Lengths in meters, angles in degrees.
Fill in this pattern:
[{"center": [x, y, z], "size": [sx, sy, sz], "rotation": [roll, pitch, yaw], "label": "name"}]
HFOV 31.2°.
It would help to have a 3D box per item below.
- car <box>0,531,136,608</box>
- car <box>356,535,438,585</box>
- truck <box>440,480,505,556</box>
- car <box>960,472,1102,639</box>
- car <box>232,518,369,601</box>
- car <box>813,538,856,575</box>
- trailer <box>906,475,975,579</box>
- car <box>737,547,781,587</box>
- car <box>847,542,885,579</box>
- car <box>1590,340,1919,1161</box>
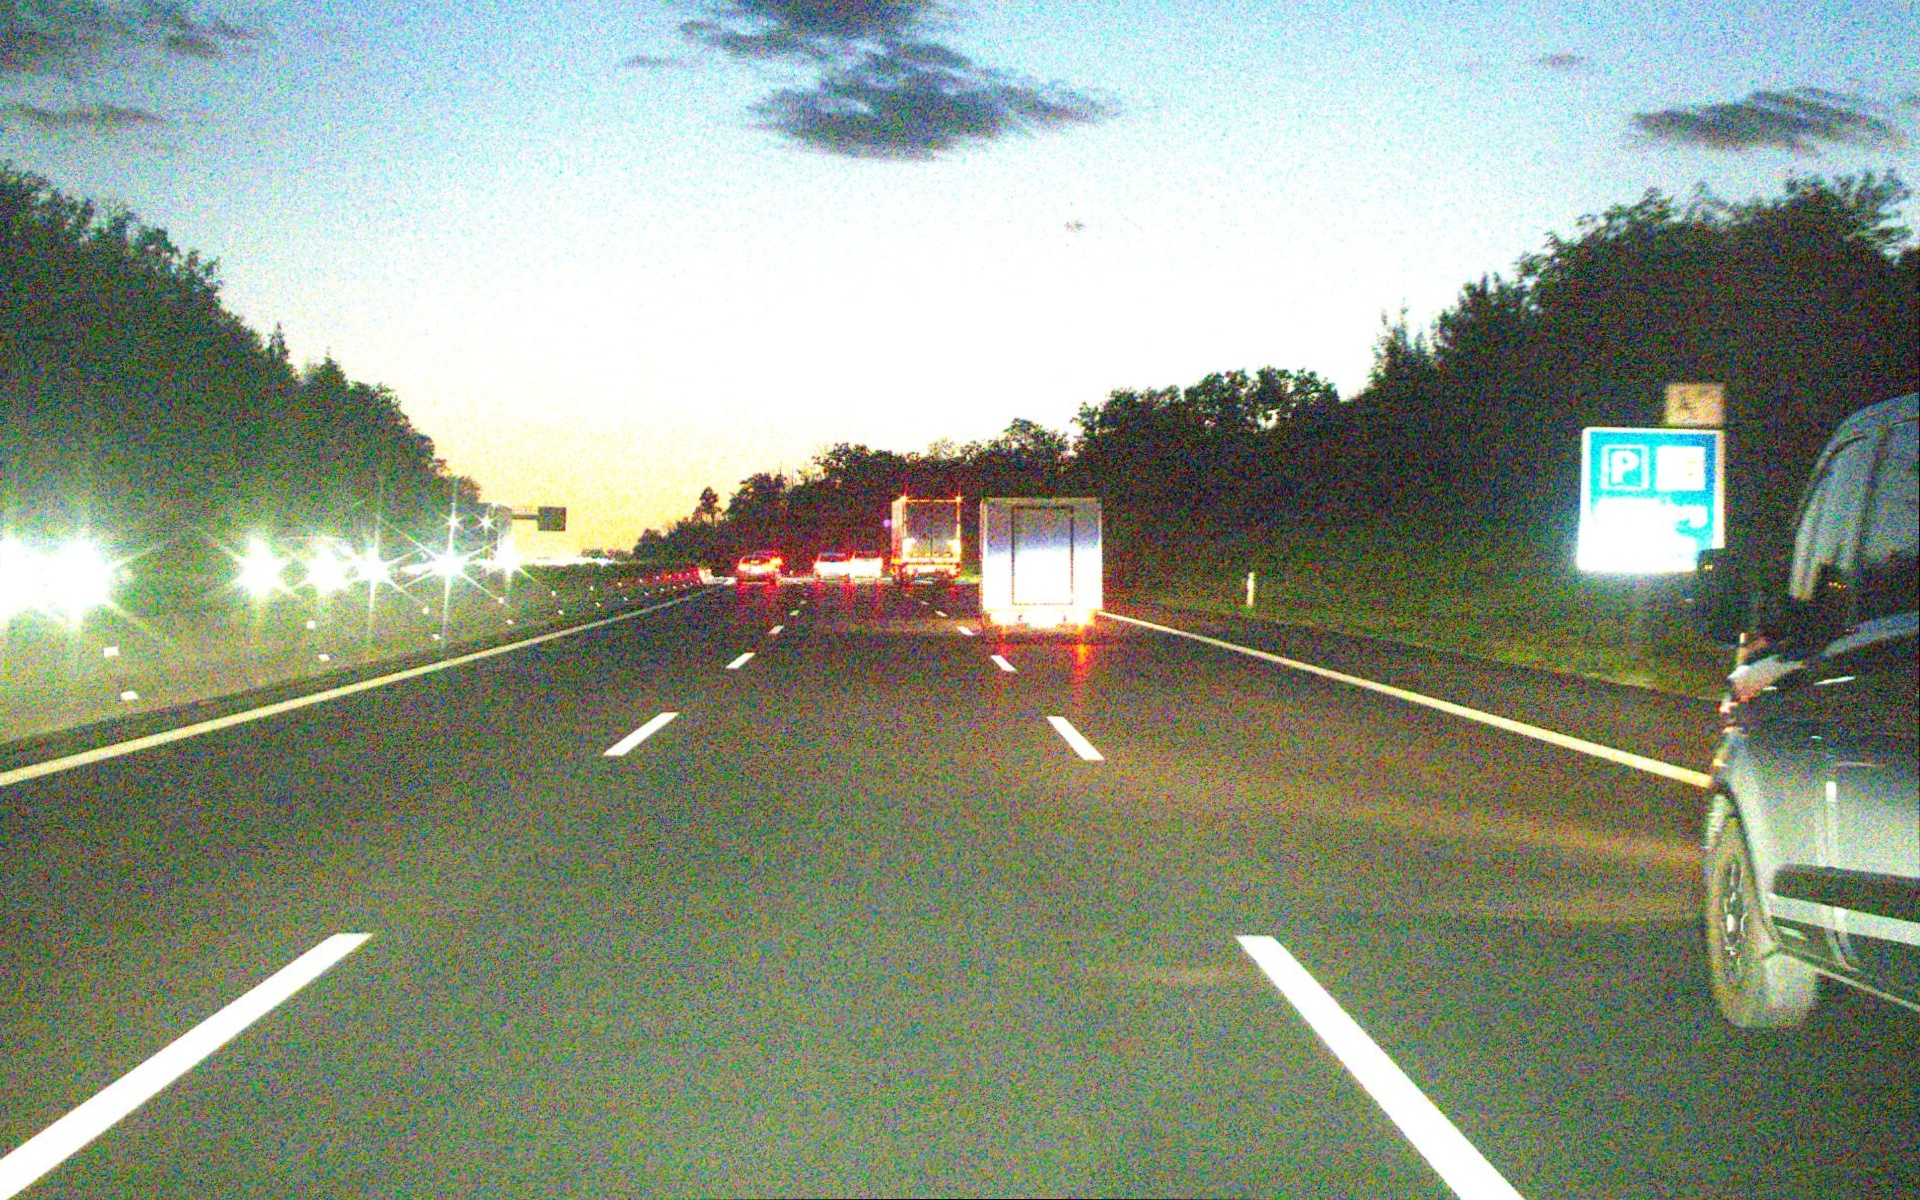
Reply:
[{"center": [-17.815, -0.623, 68.126], "size": [2.010, 1.462, 4.209], "rotation": [0, 1, -1], "label": "car"}, {"center": [-19.284, -1.374, 117.902], "size": [2.010, 1.664, 4.949], "rotation": [1, 1, 0], "label": "car"}, {"center": [-26.082, -4.371, 183.995], "size": [2.853, 3.967, 5.861], "rotation": [0, 1, -3], "label": "truck"}, {"center": [1.135, -0.732, 57.615], "size": [2.032, 2.638, 5.725], "rotation": [0, 1, -2], "label": "car"}, {"center": [-13.674, -0.850, 71.507], "size": [2.010, 1.664, 4.483], "rotation": [0, 1, 0], "label": "car"}, {"center": [-6.424, -2.205, 176.041], "size": [1.993, 1.788, 4.000], "rotation": [0, -1, 0], "label": "car"}, {"center": [-0.989, -3.297, 161.167], "size": [2.829, 4.242, 17.049], "rotation": [0, -1, -2], "label": "trailer"}, {"center": [-9.461, -1.541, 162.081], "size": [1.993, 1.788, 4.000], "rotation": [1, -1, -3], "label": "car"}, {"center": [-5.724, -2.409, 208.711], "size": [1.993, 2.110, 4.000], "rotation": [1, -1, -6], "label": "car"}, {"center": [3.372, 0.360, 9.477], "size": [2.115, 1.994, 5.664], "rotation": [0, 1, -1], "label": "car"}]
